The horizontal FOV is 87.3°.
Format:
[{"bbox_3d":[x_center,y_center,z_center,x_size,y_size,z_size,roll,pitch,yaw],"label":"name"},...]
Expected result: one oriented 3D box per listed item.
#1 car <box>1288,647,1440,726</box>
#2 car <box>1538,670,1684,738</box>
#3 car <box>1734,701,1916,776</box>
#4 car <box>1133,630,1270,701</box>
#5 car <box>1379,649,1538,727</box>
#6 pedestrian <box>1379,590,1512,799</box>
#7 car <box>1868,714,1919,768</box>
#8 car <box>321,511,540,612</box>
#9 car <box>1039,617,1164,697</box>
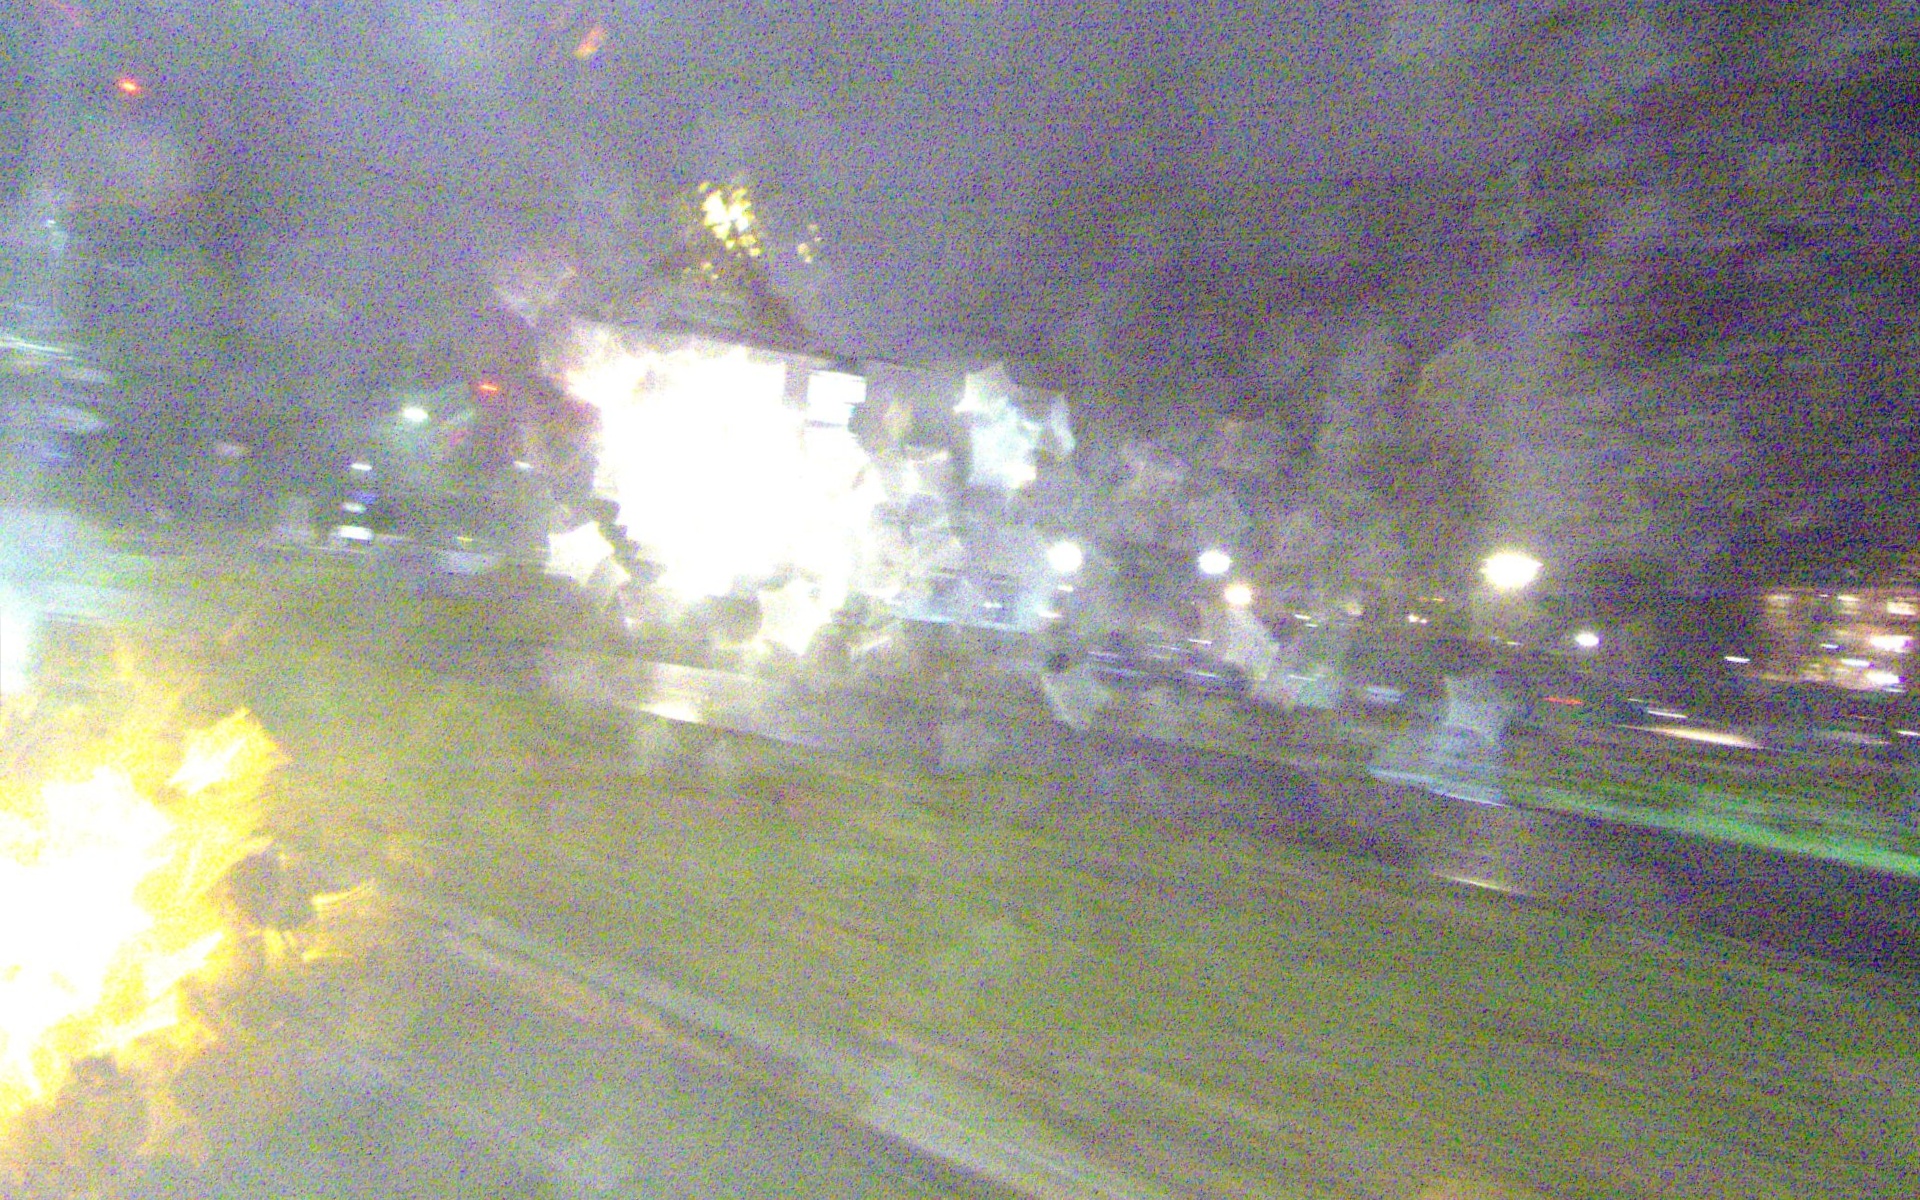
[{"bbox_3d":[10.720,2.261,27.003,1.694,1.515,3.901,8,0,-13],"label":"car"},{"bbox_3d":[22.676,3.617,35.096,4.002,1.703,1.788,8,0,-12],"label":"car"},{"bbox_3d":[26.679,4.223,31.195,1.694,1.555,3.901,8,0,-13],"label":"car"},{"bbox_3d":[6.026,1.613,25.587,1.694,1.513,3.906,6,-3,-13],"label":"car"},{"bbox_3d":[13.606,2.361,27.731,1.694,1.555,3.901,8,0,-13],"label":"car"},{"bbox_3d":[4.791,0.921,9.942,0.647,1.925,0.723,7,1,-30],"label":"pedestrian"},{"bbox_3d":[31.772,4.740,31.977,1.694,1.555,3.901,8,0,-13],"label":"car"},{"bbox_3d":[-12.199,-0.850,23.404,3.929,1.704,1.917,8,0,-4],"label":"car"},{"bbox_3d":[3.467,1.383,25.437,1.694,1.515,3.901,8,0,-13],"label":"car"}]
